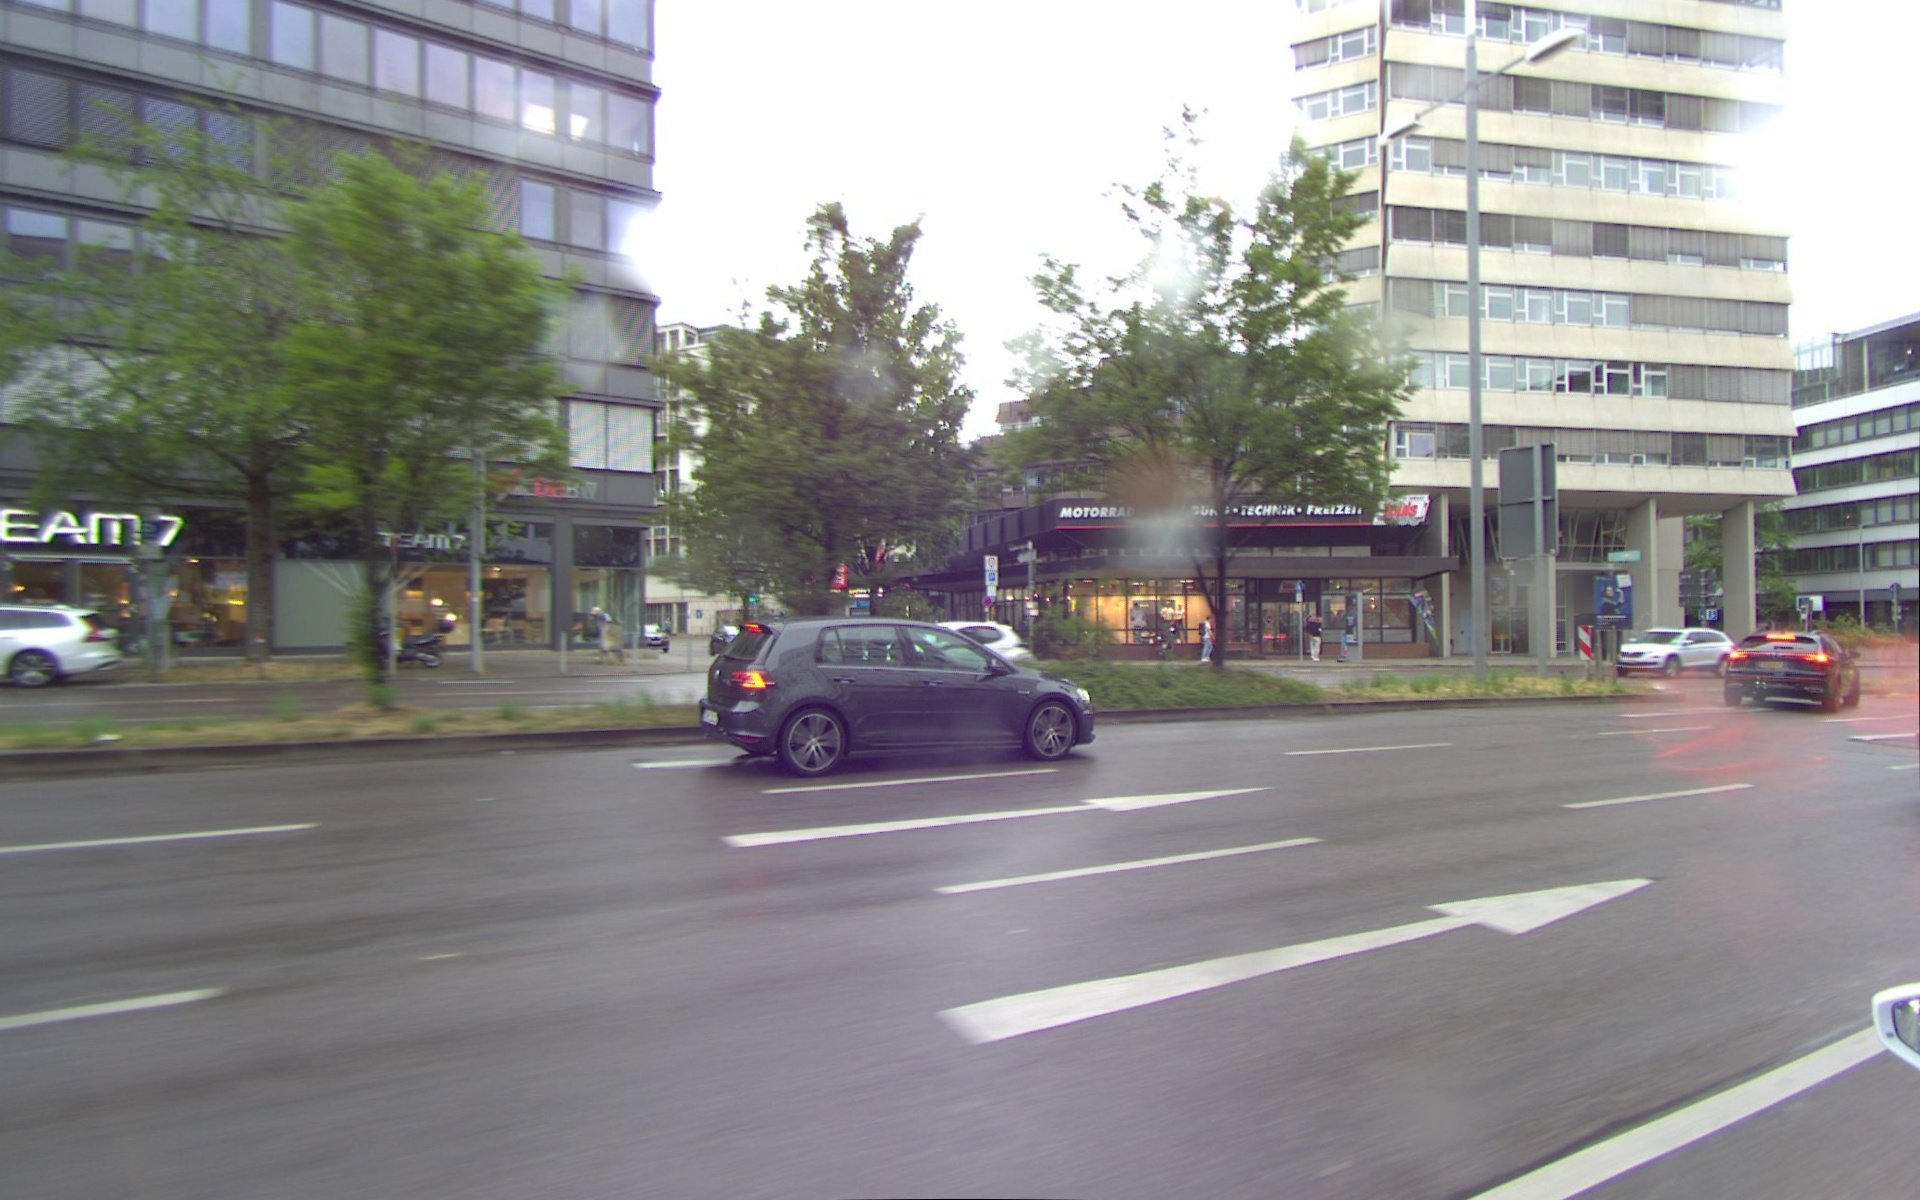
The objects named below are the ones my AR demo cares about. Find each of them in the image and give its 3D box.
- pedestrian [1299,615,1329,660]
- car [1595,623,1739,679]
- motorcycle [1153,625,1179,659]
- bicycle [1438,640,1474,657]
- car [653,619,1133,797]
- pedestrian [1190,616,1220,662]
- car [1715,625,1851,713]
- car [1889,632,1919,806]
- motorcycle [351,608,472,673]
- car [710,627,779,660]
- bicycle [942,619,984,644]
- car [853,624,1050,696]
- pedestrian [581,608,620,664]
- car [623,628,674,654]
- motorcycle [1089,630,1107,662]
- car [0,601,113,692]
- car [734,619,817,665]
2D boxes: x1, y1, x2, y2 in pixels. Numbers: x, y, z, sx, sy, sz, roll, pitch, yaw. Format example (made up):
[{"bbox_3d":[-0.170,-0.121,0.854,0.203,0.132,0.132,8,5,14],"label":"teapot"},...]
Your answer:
[{"bbox_3d":[14.873,1.553,42.186,0.908,1.856,0.728,1,-1,-11],"label":"pedestrian"},{"bbox_3d":[23.952,1.730,34.052,4.424,1.751,1.735,2,0,-19],"label":"car"},{"bbox_3d":[9.026,1.828,44.059,0.788,1.392,2.894,2,-1,5],"label":"motorcycle"},{"bbox_3d":[26.056,2.547,52.770,1.741,0.823,0.454,2,-1,-10],"label":"bicycle"},{"bbox_3d":[-0.600,0.933,10.331,4.633,1.470,1.830,0,-1,-30],"label":"car"},{"bbox_3d":[10.144,1.602,41.615,0.908,1.856,0.818,1,-1,-11],"label":"pedestrian"},{"bbox_3d":[16.846,1.317,20.491,1.971,1.564,4.459,0,-2,42],"label":"car"},{"bbox_3d":[10.403,1.073,9.216,4.148,1.505,1.674,2,-1,-31],"label":"car"},{"bbox_3d":[-12.990,0.946,23.887,0.844,1.412,2.364,4,1,31],"label":"motorcycle"},{"bbox_3d":[-9.575,1.914,44.415,1.826,1.305,3.967,2,-1,-31],"label":"car"},{"bbox_3d":[0.176,1.811,57.571,2.181,1.345,0.913,2,-1,-30],"label":"bicycle"},{"bbox_3d":[-0.155,1.285,22.111,4.036,1.450,1.674,2,-1,-31],"label":"car"},{"bbox_3d":[-10.938,1.085,30.588,0.955,1.659,0.779,1,-1,-32],"label":"pedestrian"},{"bbox_3d":[-17.684,2.292,56.891,1.827,1.305,3.965,2,-1,-32],"label":"car"},{"bbox_3d":[6.100,2.016,44.473,0.709,1.351,2.823,2,-1,7],"label":"motorcycle"},{"bbox_3d":[-18.178,0.786,17.694,4.720,1.505,1.798,2,2,-32],"label":"car"},{"bbox_3d":[-7.422,1.664,40.118,1.978,1.661,3.966,2,-1,-31],"label":"car"}]
